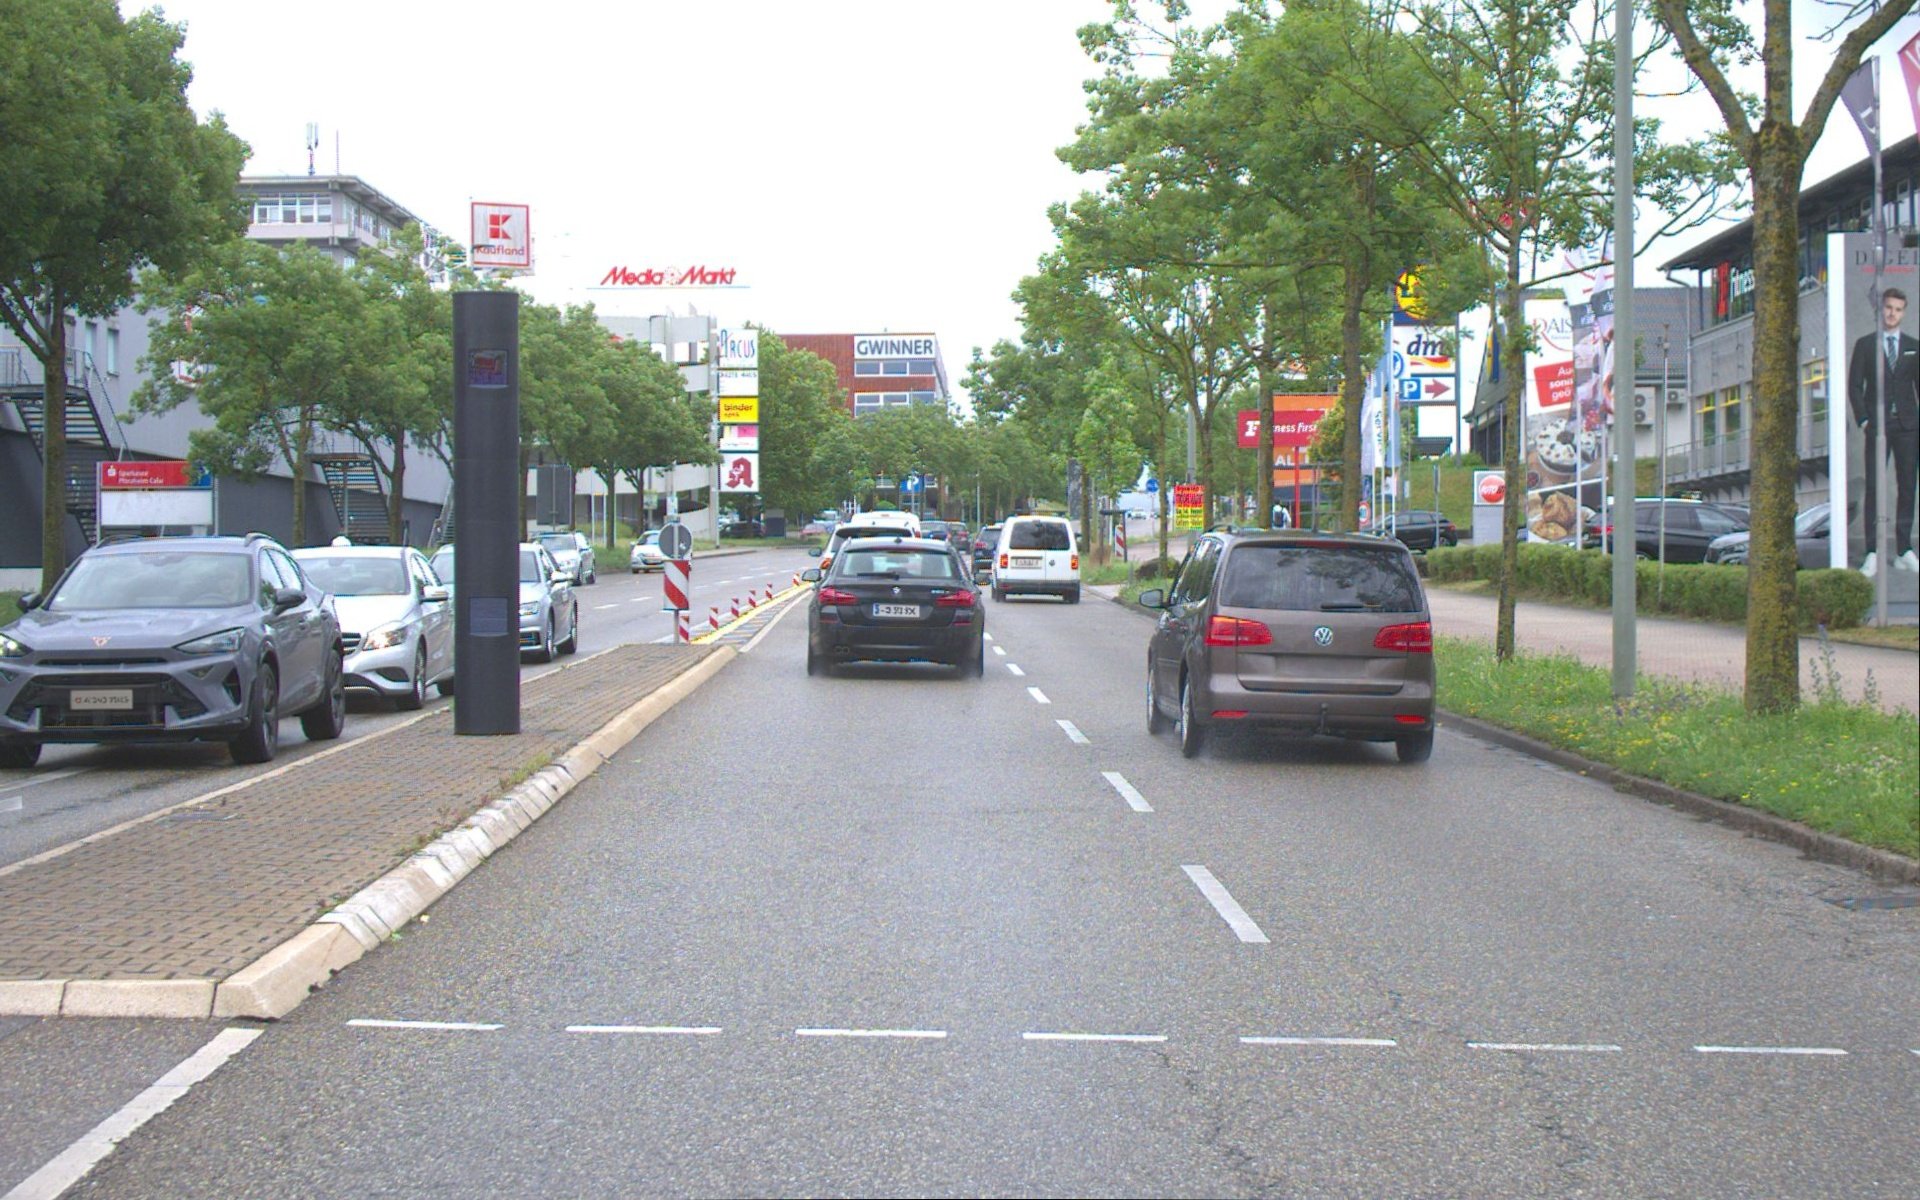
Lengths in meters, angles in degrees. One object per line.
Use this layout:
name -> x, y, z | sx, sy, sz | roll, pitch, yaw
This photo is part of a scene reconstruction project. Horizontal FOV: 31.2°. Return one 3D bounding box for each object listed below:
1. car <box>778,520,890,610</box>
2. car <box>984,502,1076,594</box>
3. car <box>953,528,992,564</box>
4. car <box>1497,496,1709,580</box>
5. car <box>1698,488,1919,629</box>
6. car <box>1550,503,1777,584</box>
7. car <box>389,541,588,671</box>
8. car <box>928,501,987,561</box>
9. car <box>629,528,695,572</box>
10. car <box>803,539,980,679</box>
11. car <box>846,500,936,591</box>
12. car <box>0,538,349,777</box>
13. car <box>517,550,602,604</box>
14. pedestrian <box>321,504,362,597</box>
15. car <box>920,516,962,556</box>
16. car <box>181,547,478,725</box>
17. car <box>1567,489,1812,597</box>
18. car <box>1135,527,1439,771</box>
car -> -2.046, -0.565, 54.930 | 1.682, 1.372, 4.001 | 0, 1, -3
car -> 1.447, -1.090, 72.389 | 1.782, 1.860, 4.000 | -1, 1, -1
car -> 0.556, -2.380, 151.917 | 1.619, 1.490, 3.360 | 2, 0, -1
car -> 13.120, -1.278, 70.327 | 4.111, 1.697, 1.799 | 0, 1, 6
car -> 13.436, -0.635, 52.133 | 4.111, 2.098, 1.799 | 0, 1, 2
car -> 13.473, -1.087, 66.037 | 4.111, 1.530, 1.799 | 0, 1, 6
car -> -5.598, 0.037, 41.341 | 1.723, 1.393, 4.789 | -2, 1, -1
car -> -0.064, -2.054, 103.411 | 1.685, 1.678, 3.402 | 2, 0, 1
car -> -10.066, -1.699, 116.471 | 1.943, 1.443, 4.000 | 1, 1, -1
car -> -0.717, 0.068, 36.947 | 1.781, 1.393, 4.000 | 1, 1, -1
car -> -1.598, -1.254, 80.739 | 1.993, 2.007, 4.000 | 2, 0, 0
car -> -5.496, 0.319, 23.859 | 1.744, 1.484, 4.829 | 0, 1, -1
car -> -11.105, -0.655, 95.515 | 1.943, 1.448, 4.000 | 1, 1, -1
pedestrian -> -14.806, -1.186, 82.302 | 0.858, 2.210, 0.846 | 0, 1, -3
car -> -0.765, -2.535, 136.541 | 1.594, 1.469, 3.445 | 2, 0, -1
car -> -5.591, 0.262, 31.083 | 1.840, 1.372, 4.863 | -3, 1, -1
car -> 13.341, -1.048, 63.013 | 4.111, 1.898, 1.799 | -1, 1, 2
car -> 2.300, 0.291, 25.221 | 1.801, 1.581, 4.451 | 2, 1, 1
